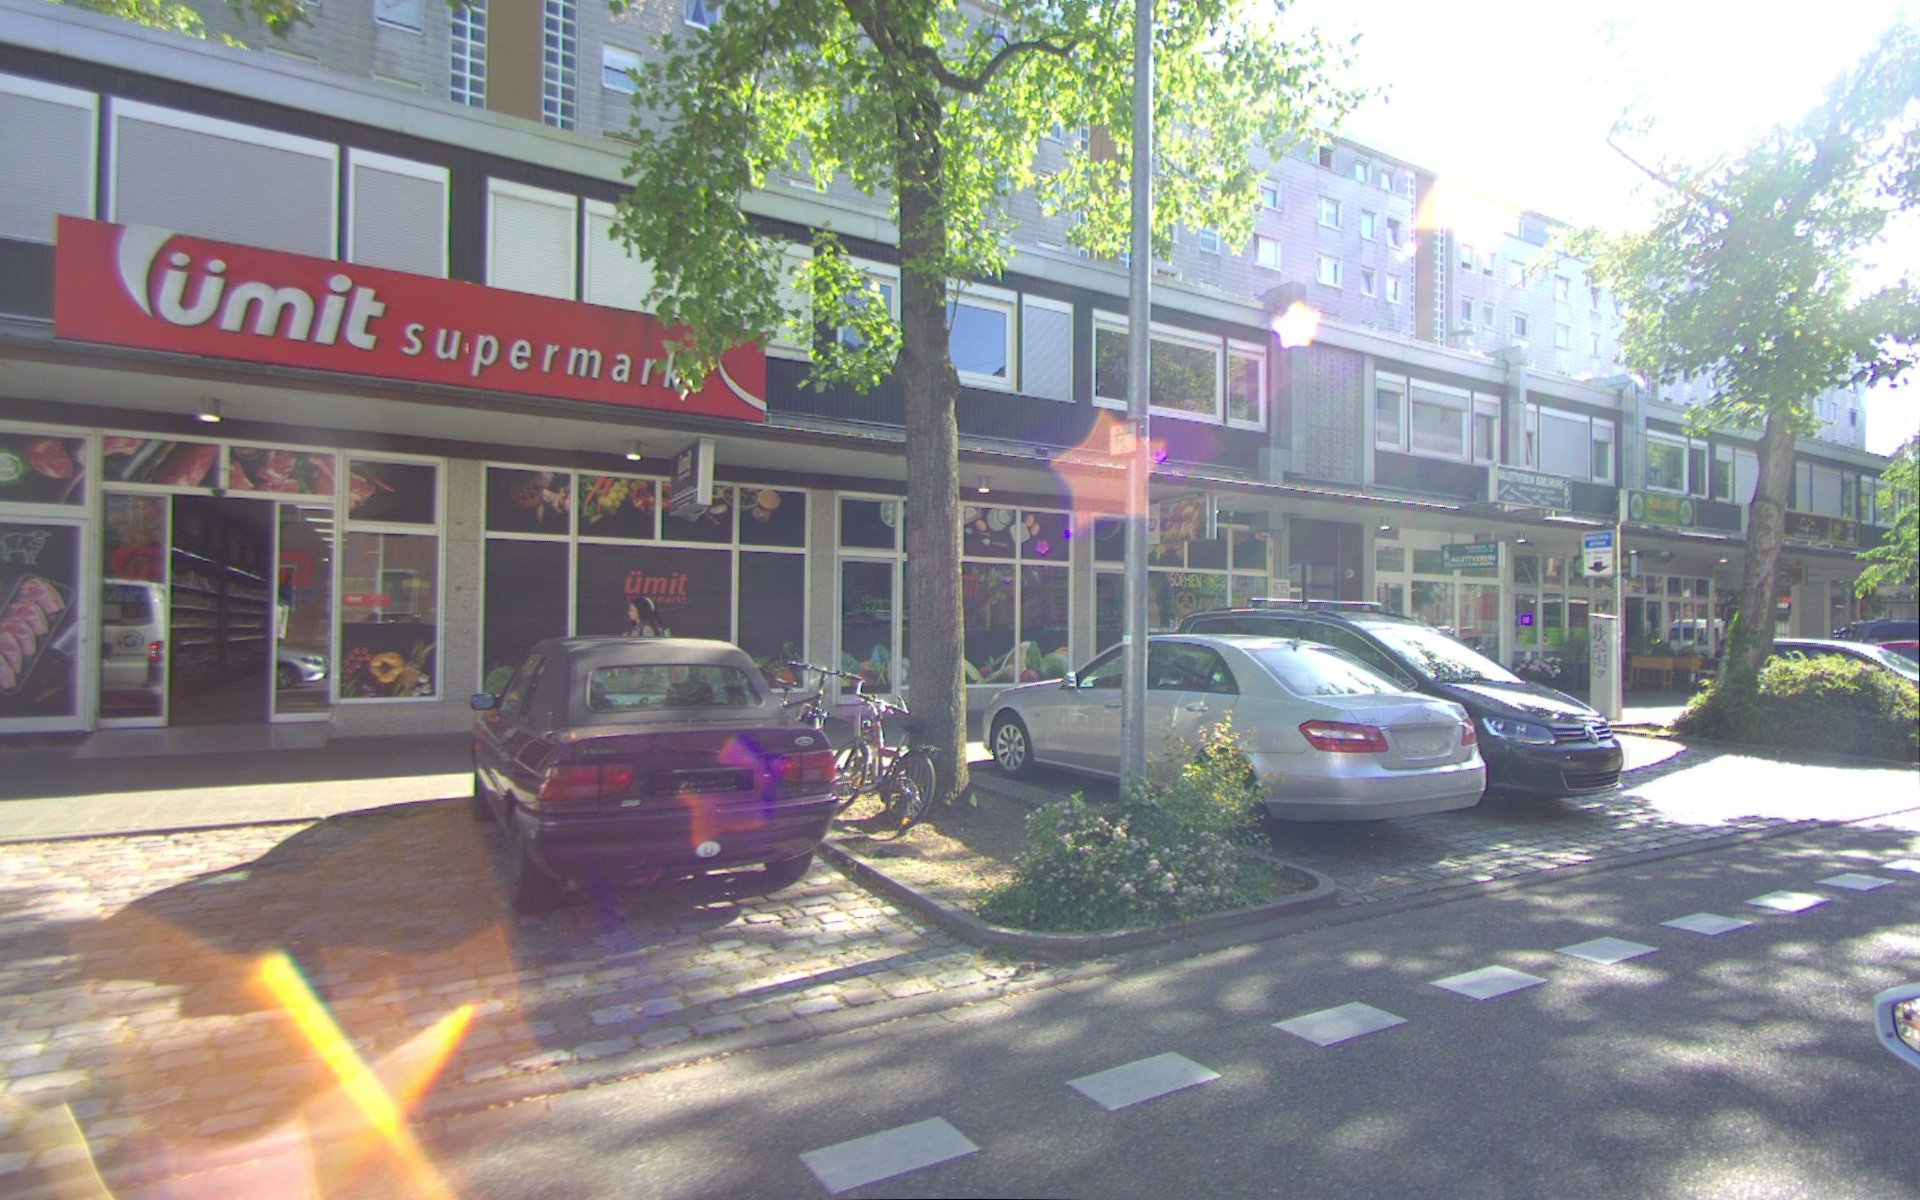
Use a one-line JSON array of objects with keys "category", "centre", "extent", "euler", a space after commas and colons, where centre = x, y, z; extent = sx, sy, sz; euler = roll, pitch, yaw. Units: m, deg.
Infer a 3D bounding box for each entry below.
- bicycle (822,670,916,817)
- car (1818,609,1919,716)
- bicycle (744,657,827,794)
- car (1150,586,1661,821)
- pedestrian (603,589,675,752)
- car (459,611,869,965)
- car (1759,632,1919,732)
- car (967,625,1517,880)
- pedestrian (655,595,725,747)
[{"category": "bicycle", "centre": [-0.776, 1.146, 8.331], "extent": [0.393, 1.082, 1.150], "euler": [1, -2, -26]}, {"category": "car", "centre": [19.280, 1.189, 18.406], "extent": [1.642, 2.007, 5.187], "euler": [1, -1, -30]}, {"category": "bicycle", "centre": [-1.564, 1.062, 8.880], "extent": [0.447, 1.082, 1.205], "euler": [1, -2, -23]}, {"category": "car", "centre": [4.168, 0.837, 10.269], "extent": [1.816, 1.828, 4.604], "euler": [1, -1, -30]}, {"category": "pedestrian", "centre": [-3.428, 0.734, 10.717], "extent": [0.626, 1.673, 0.528], "euler": [1, -2, -30]}, {"category": "car", "centre": [-2.236, 0.883, 6.680], "extent": [1.697, 1.513, 4.010], "euler": [1, 0, -30]}, {"category": "car", "centre": [16.944, 1.422, 17.406], "extent": [1.642, 1.632, 4.604], "euler": [1, -1, -30]}, {"category": "car", "centre": [2.042, 1.021, 8.728], "extent": [1.807, 1.513, 4.632], "euler": [1, -1, -31]}, {"category": "pedestrian", "centre": [-3.105, 0.798, 11.548], "extent": [0.626, 1.673, 0.627], "euler": [1, -2, -30]}]
